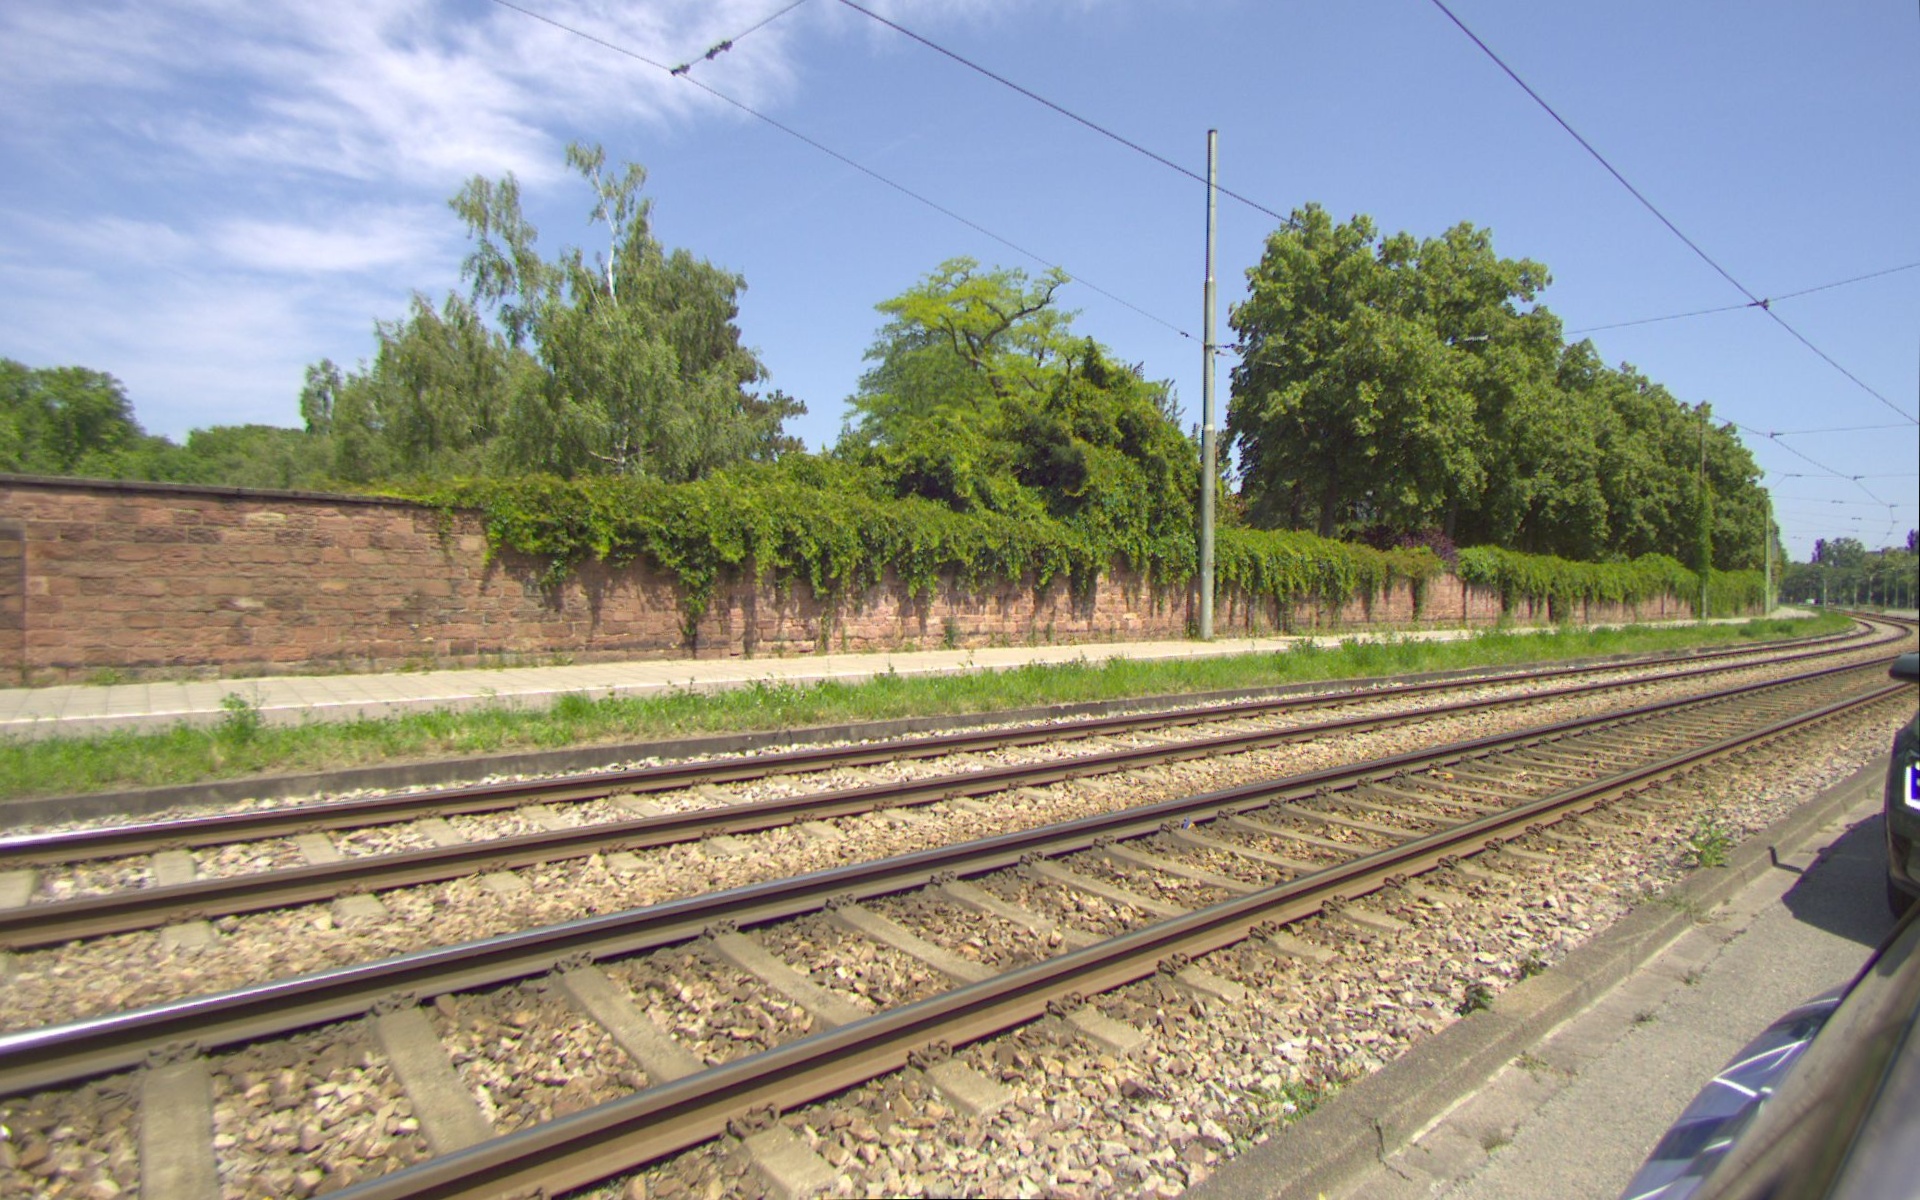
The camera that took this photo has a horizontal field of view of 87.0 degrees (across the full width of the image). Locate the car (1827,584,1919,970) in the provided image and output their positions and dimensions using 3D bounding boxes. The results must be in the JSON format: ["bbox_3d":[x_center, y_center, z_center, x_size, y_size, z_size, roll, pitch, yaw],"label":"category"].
[{"bbox_3d":[5.888,0.709,4.725,3.927,1.563,2.062,0,-1,-38],"label":"car"}]
